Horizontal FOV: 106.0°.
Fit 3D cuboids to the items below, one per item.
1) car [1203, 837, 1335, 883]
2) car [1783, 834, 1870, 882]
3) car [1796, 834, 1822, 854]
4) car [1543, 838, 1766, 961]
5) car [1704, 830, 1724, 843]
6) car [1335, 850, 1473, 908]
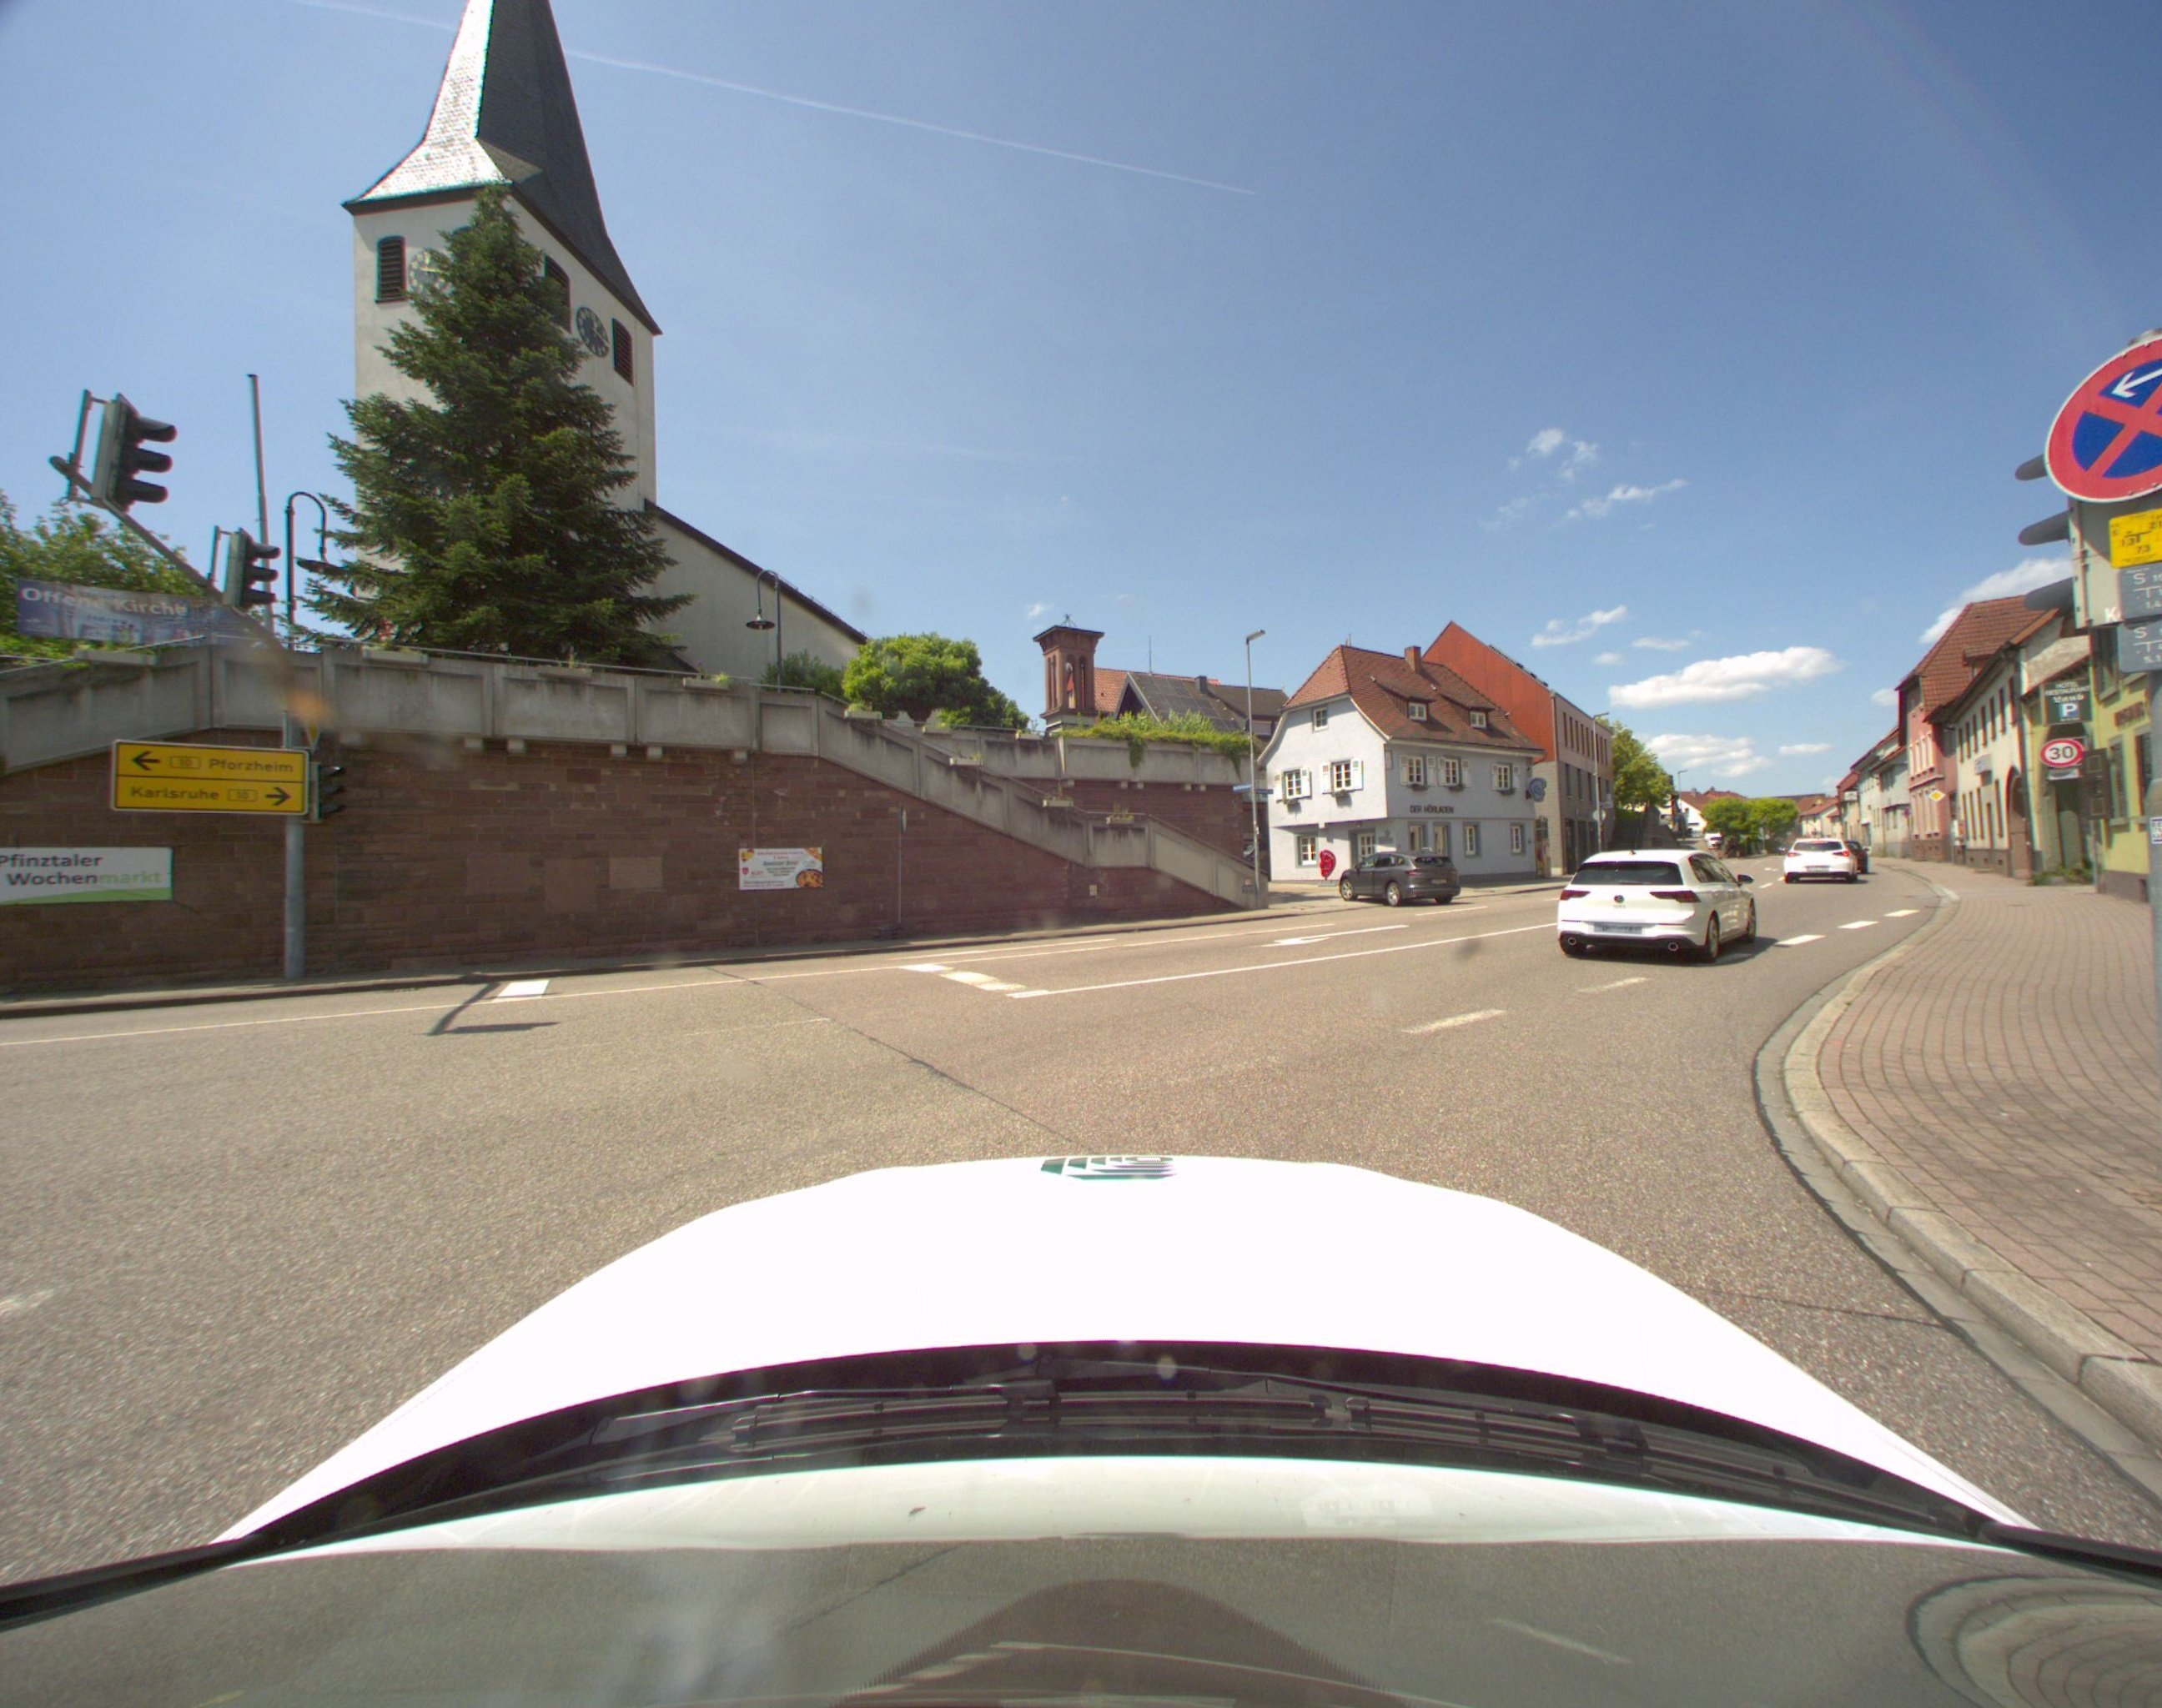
[{"bbox_3d":[9.335,0.308,40.452,6.003,2.014,2.504,-2,-2,-24],"label":"car"},{"bbox_3d":[24.894,0.130,27.147,3.884,1.458,1.767,-1,-2,-43],"label":"car"},{"bbox_3d":[69.192,-0.921,77.420,1.765,1.840,3.887,-3,-2,41],"label":"car"},{"bbox_3d":[8.290,0.550,11.650,3.884,1.458,1.767,-1,-2,-42],"label":"car"},{"bbox_3d":[87.019,-2.418,111.901,1.974,1.717,4.025,-1,-1,39],"label":"car"},{"bbox_3d":[9.813,0.695,25.135,1.950,1.582,4.310,-1,1,-10],"label":"car"}]
